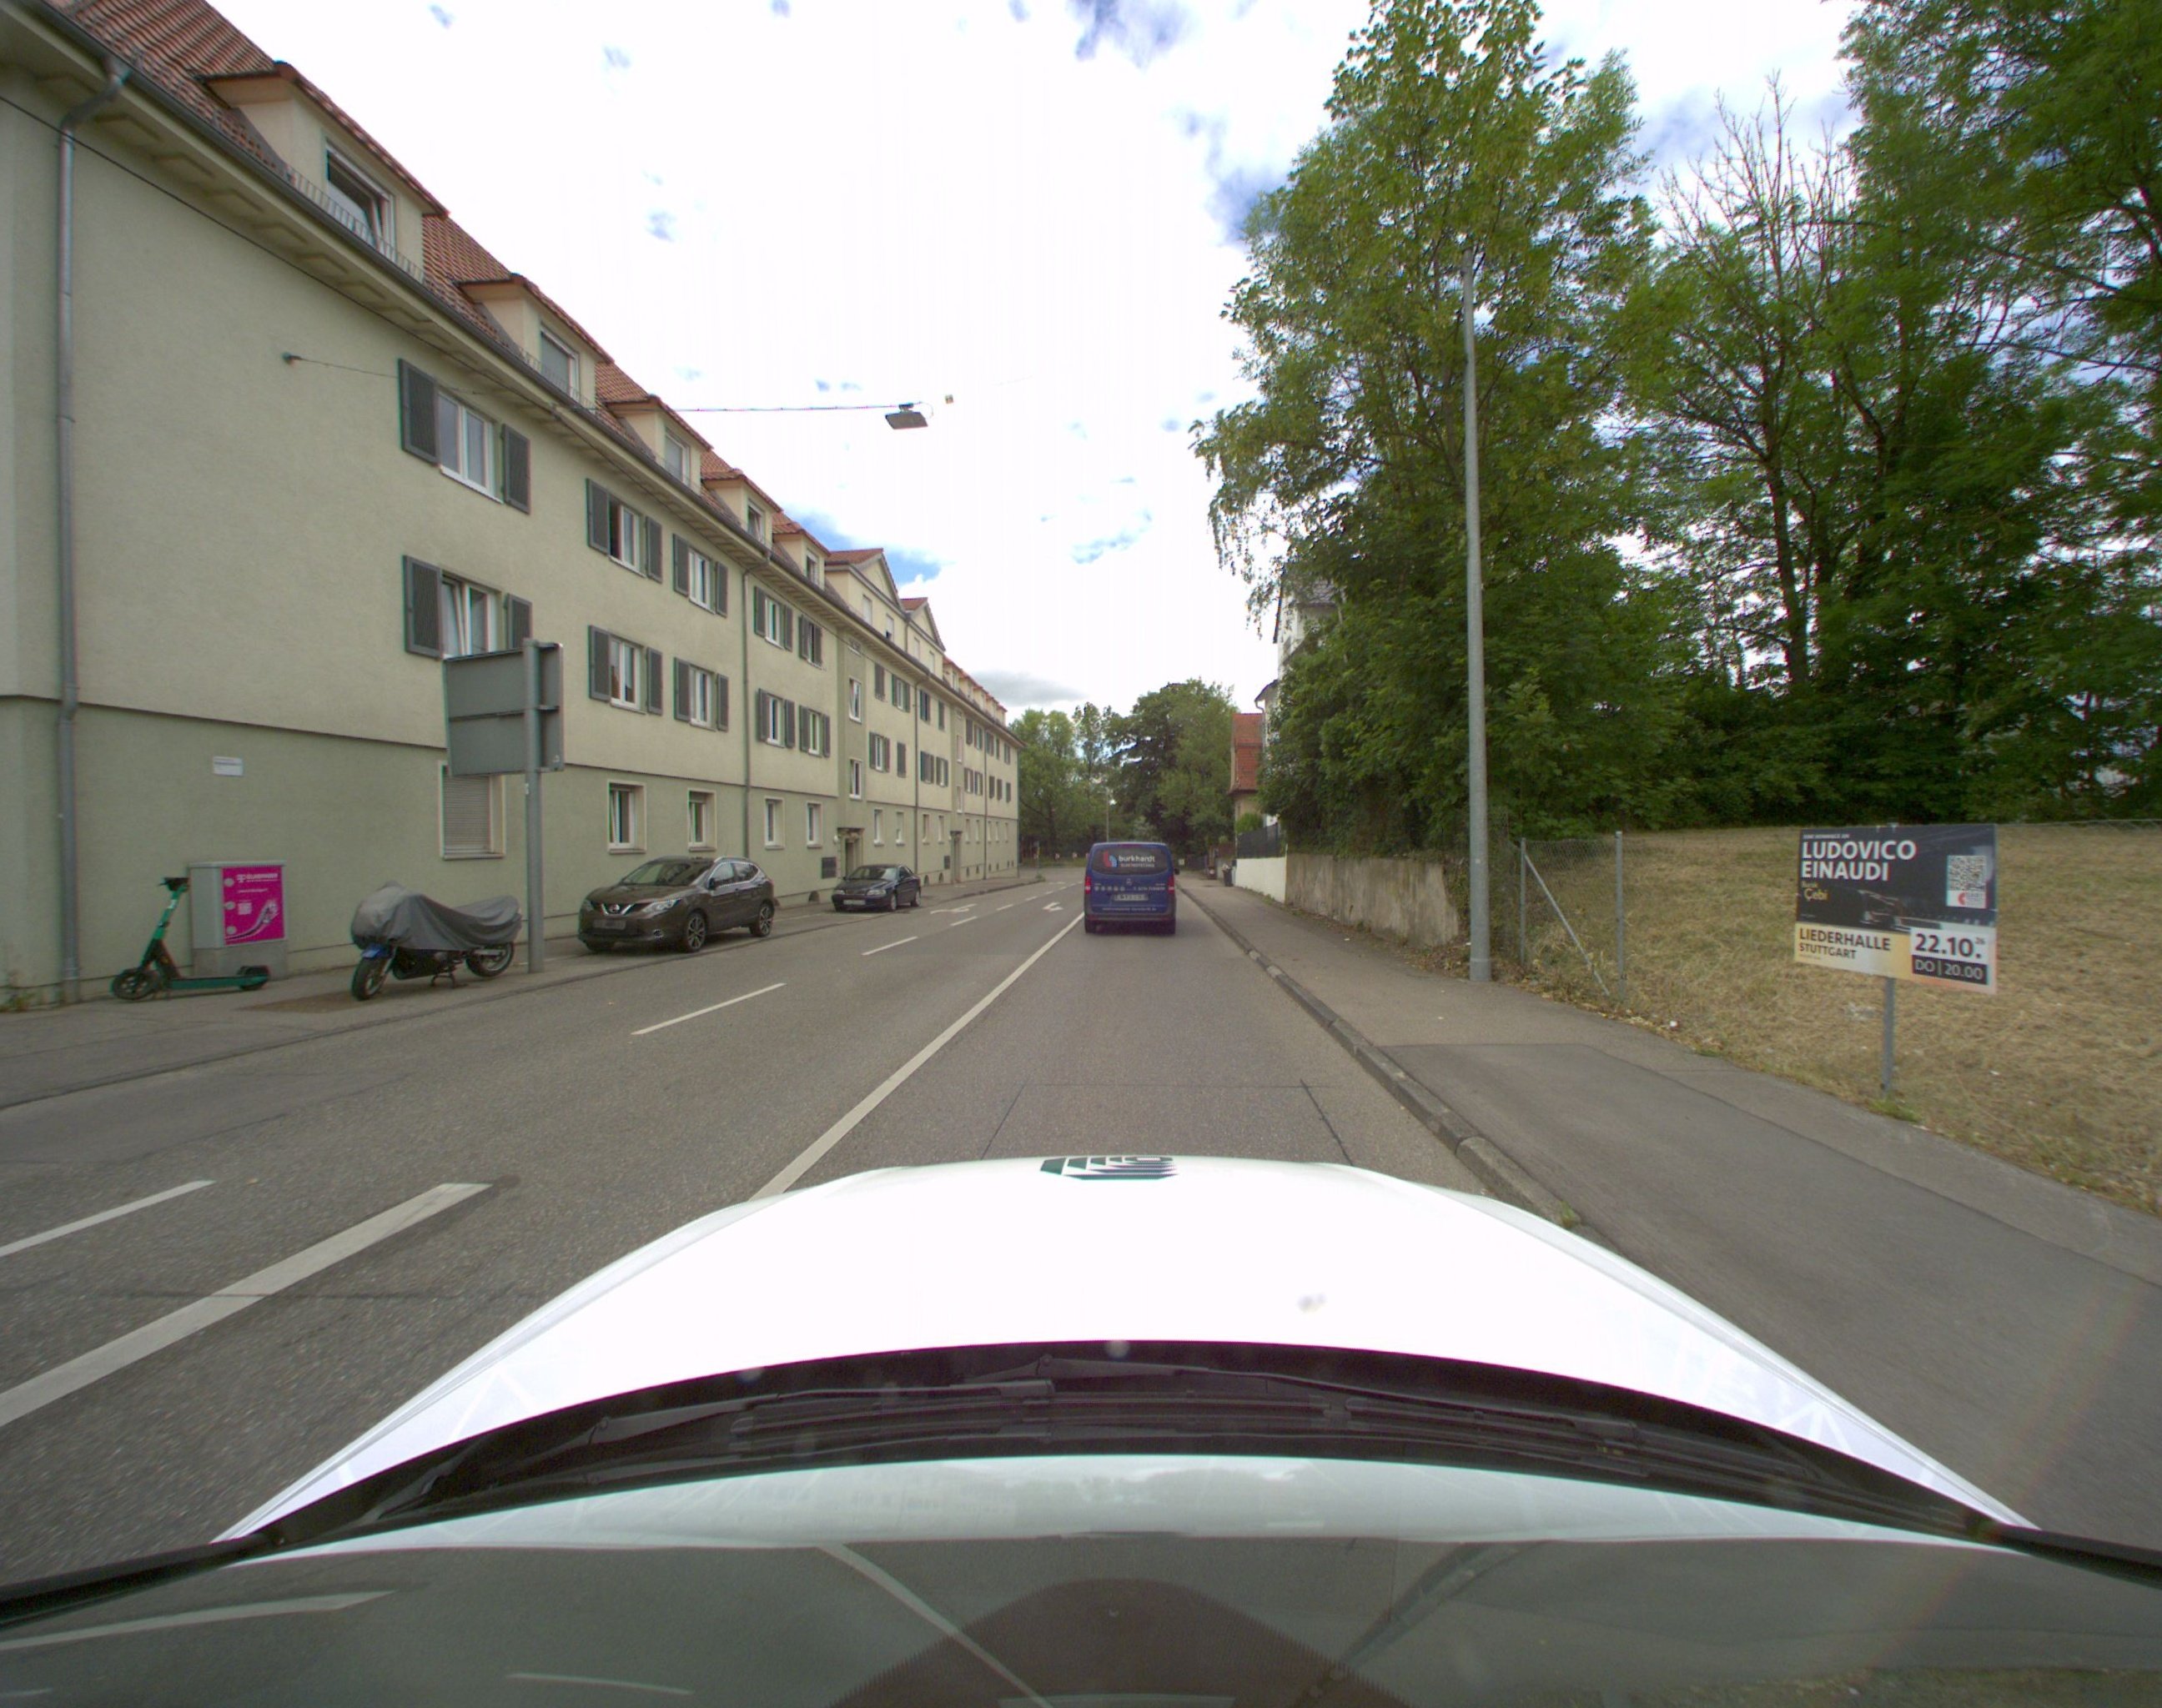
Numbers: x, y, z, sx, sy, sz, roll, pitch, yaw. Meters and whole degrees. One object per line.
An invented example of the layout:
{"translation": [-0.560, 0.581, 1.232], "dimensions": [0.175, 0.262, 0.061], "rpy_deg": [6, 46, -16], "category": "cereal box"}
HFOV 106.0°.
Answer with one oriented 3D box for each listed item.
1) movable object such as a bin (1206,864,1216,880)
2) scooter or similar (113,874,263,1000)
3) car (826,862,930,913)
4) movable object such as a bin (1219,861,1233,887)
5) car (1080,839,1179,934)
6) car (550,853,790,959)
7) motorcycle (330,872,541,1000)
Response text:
{"translation": [7.947, 1.075, 49.728], "dimensions": [0.459, 0.924, 0.566], "rpy_deg": [-4, -1, 3], "category": "movable object such as a bin"}
{"translation": [-9.507, 0.846, 8.702], "dimensions": [0.353, 1.265, 0.991], "rpy_deg": [0, -1, 28], "category": "scooter or similar"}
{"translation": [-6.228, 0.972, 25.570], "dimensions": [1.703, 1.403, 4.851], "rpy_deg": [-1, 0, 4], "category": "car"}
{"translation": [7.027, 0.965, 39.407], "dimensions": [0.525, 1.178, 0.635], "rpy_deg": [-4, -1, 3], "category": "movable object such as a bin"}
{"translation": [1.028, 0.633, 17.923], "dimensions": [1.906, 1.837, 4.296], "rpy_deg": [0, 0, 2], "category": "car"}
{"translation": [-7.220, 0.807, 14.983], "dimensions": [1.814, 1.633, 4.700], "rpy_deg": [0, 0, 3], "category": "car"}
{"translation": [-7.561, 0.888, 9.727], "dimensions": [0.622, 1.290, 2.232], "rpy_deg": [1, 0, 3], "category": "motorcycle"}
